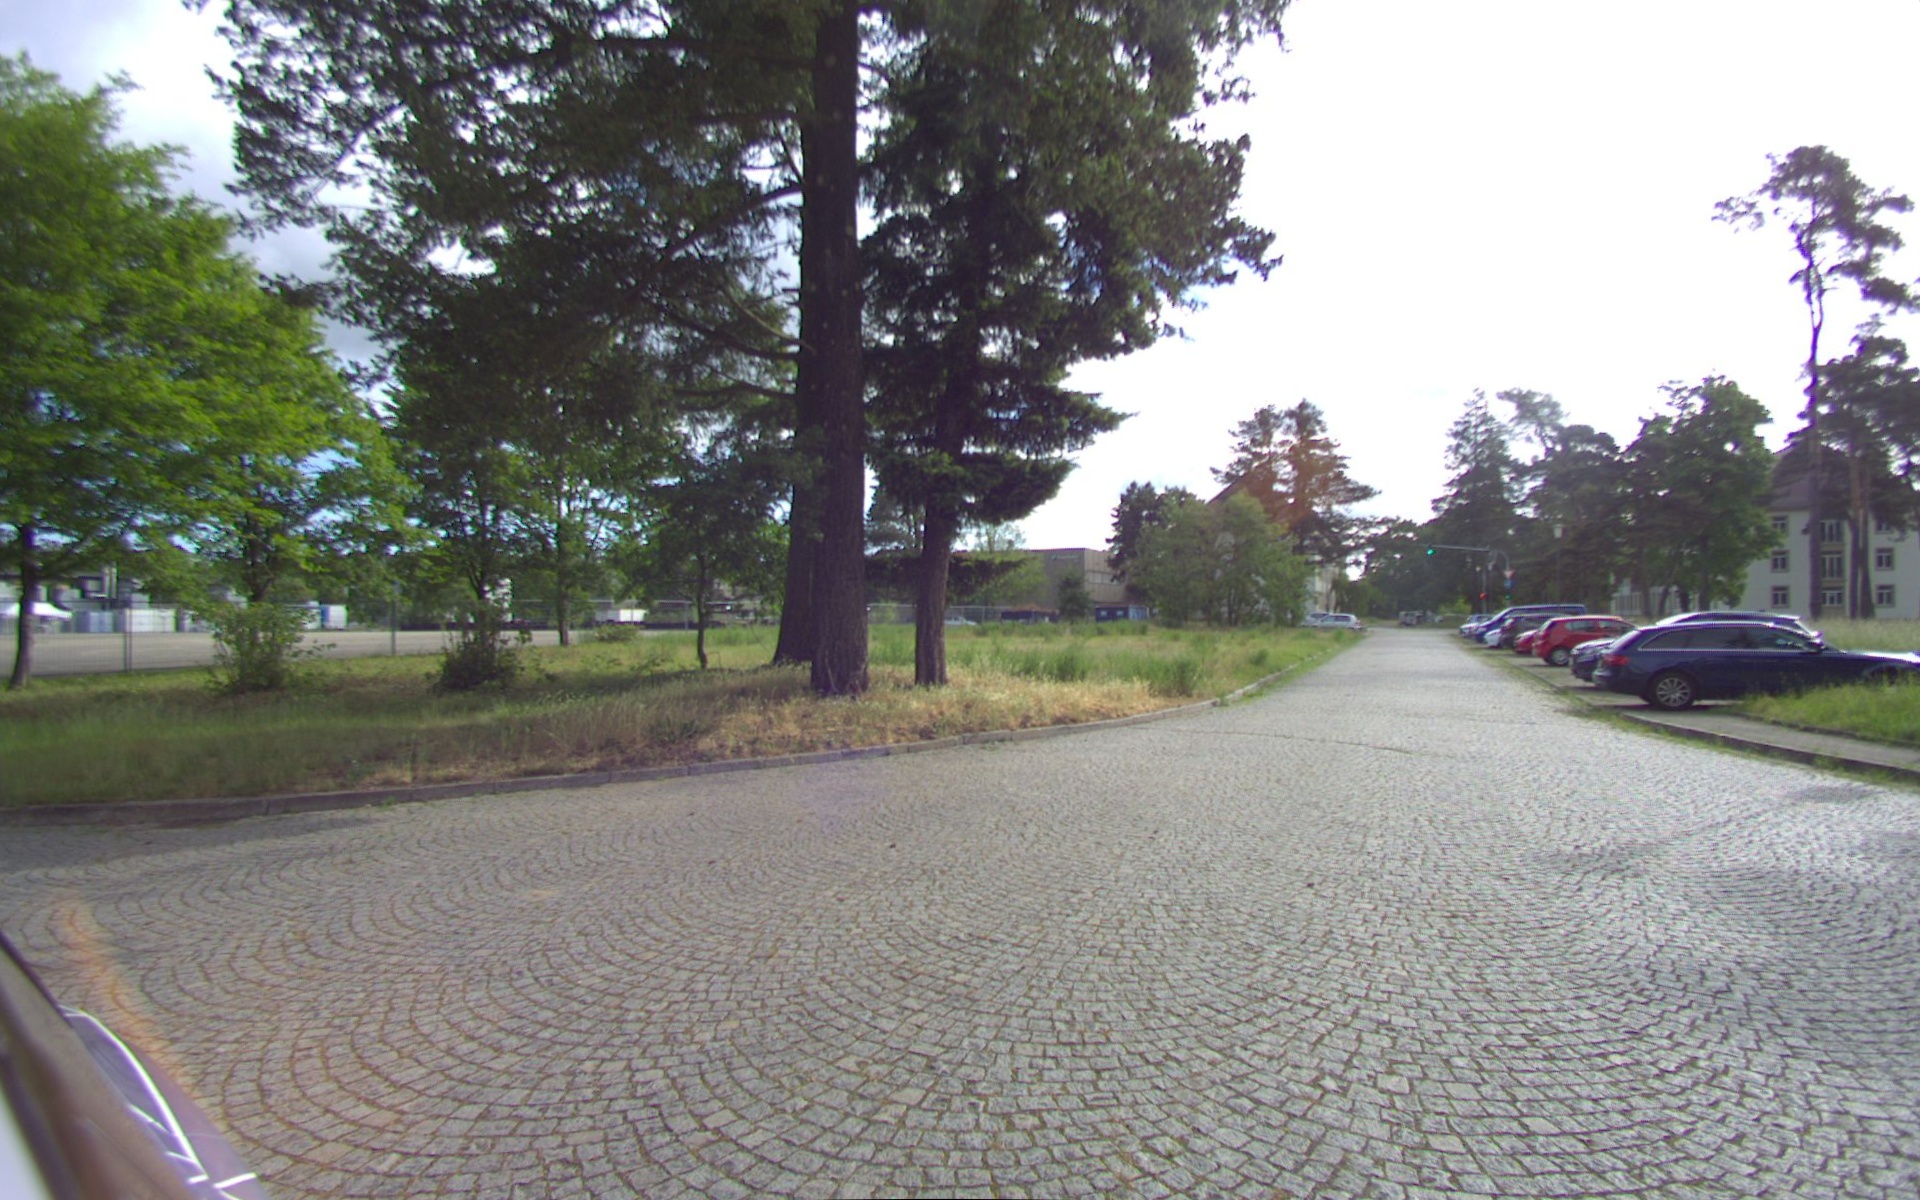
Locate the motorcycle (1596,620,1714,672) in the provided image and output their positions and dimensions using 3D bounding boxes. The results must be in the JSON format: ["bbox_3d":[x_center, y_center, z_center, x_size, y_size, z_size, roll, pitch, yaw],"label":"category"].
[{"bbox_3d":[17.734,1.172,25.880,2.350,1.298,0.737,-2,-2,25],"label":"motorcycle"}]

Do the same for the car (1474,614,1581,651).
[{"bbox_3d":[25.417,1.447,45.450,3.907,1.403,1.729,-4,-2,23],"label":"car"}]

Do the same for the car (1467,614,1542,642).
[{"bbox_3d":[32.314,1.668,60.157,3.543,1.427,1.629,-4,-2,18],"label":"car"}]

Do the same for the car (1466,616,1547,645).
[{"bbox_3d":[29.729,1.653,55.157,3.570,1.431,1.609,-3,-1,18],"label":"car"}]

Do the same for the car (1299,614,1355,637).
[{"bbox_3d":[26.389,1.846,72.846,3.705,1.448,1.615,-3,-1,21],"label":"car"}]

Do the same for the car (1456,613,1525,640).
[{"bbox_3d":[33.701,1.706,64.342,3.542,1.499,1.594,-4,-2,17],"label":"car"}]

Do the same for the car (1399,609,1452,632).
[{"bbox_3d":[60.429,2.624,131.518,5.754,2.582,2.752,-4,-2,19],"label":"car"}]

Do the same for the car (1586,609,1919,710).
[{"bbox_3d":[12.927,0.941,16.526,4.425,1.491,1.666,-2,-2,28],"label":"car"}]

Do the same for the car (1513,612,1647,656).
[{"bbox_3d":[22.479,1.260,36.882,3.931,1.532,1.693,-2,-2,25],"label":"car"}]

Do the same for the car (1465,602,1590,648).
[{"bbox_3d":[26.667,1.174,47.750,4.805,1.880,2.145,-4,-2,23],"label":"car"}]

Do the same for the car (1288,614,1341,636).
[{"bbox_3d":[27.371,1.930,78.188,3.700,1.449,1.617,-3,-2,17],"label":"car"}]

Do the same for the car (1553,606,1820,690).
[{"bbox_3d":[14.775,0.964,20.897,4.126,1.585,1.776,-2,-1,24],"label":"car"}]

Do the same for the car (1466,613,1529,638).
[{"bbox_3d":[36.640,1.744,69.015,3.423,1.443,1.620,-4,-2,15],"label":"car"}]

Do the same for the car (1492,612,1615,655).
[{"bbox_3d":[23.152,1.306,39.646,3.892,1.616,1.807,-1,-1,22],"label":"car"}]

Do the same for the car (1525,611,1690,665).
[{"bbox_3d":[19.132,1.142,30.112,3.873,1.490,1.658,-2,-2,24],"label":"car"}]
